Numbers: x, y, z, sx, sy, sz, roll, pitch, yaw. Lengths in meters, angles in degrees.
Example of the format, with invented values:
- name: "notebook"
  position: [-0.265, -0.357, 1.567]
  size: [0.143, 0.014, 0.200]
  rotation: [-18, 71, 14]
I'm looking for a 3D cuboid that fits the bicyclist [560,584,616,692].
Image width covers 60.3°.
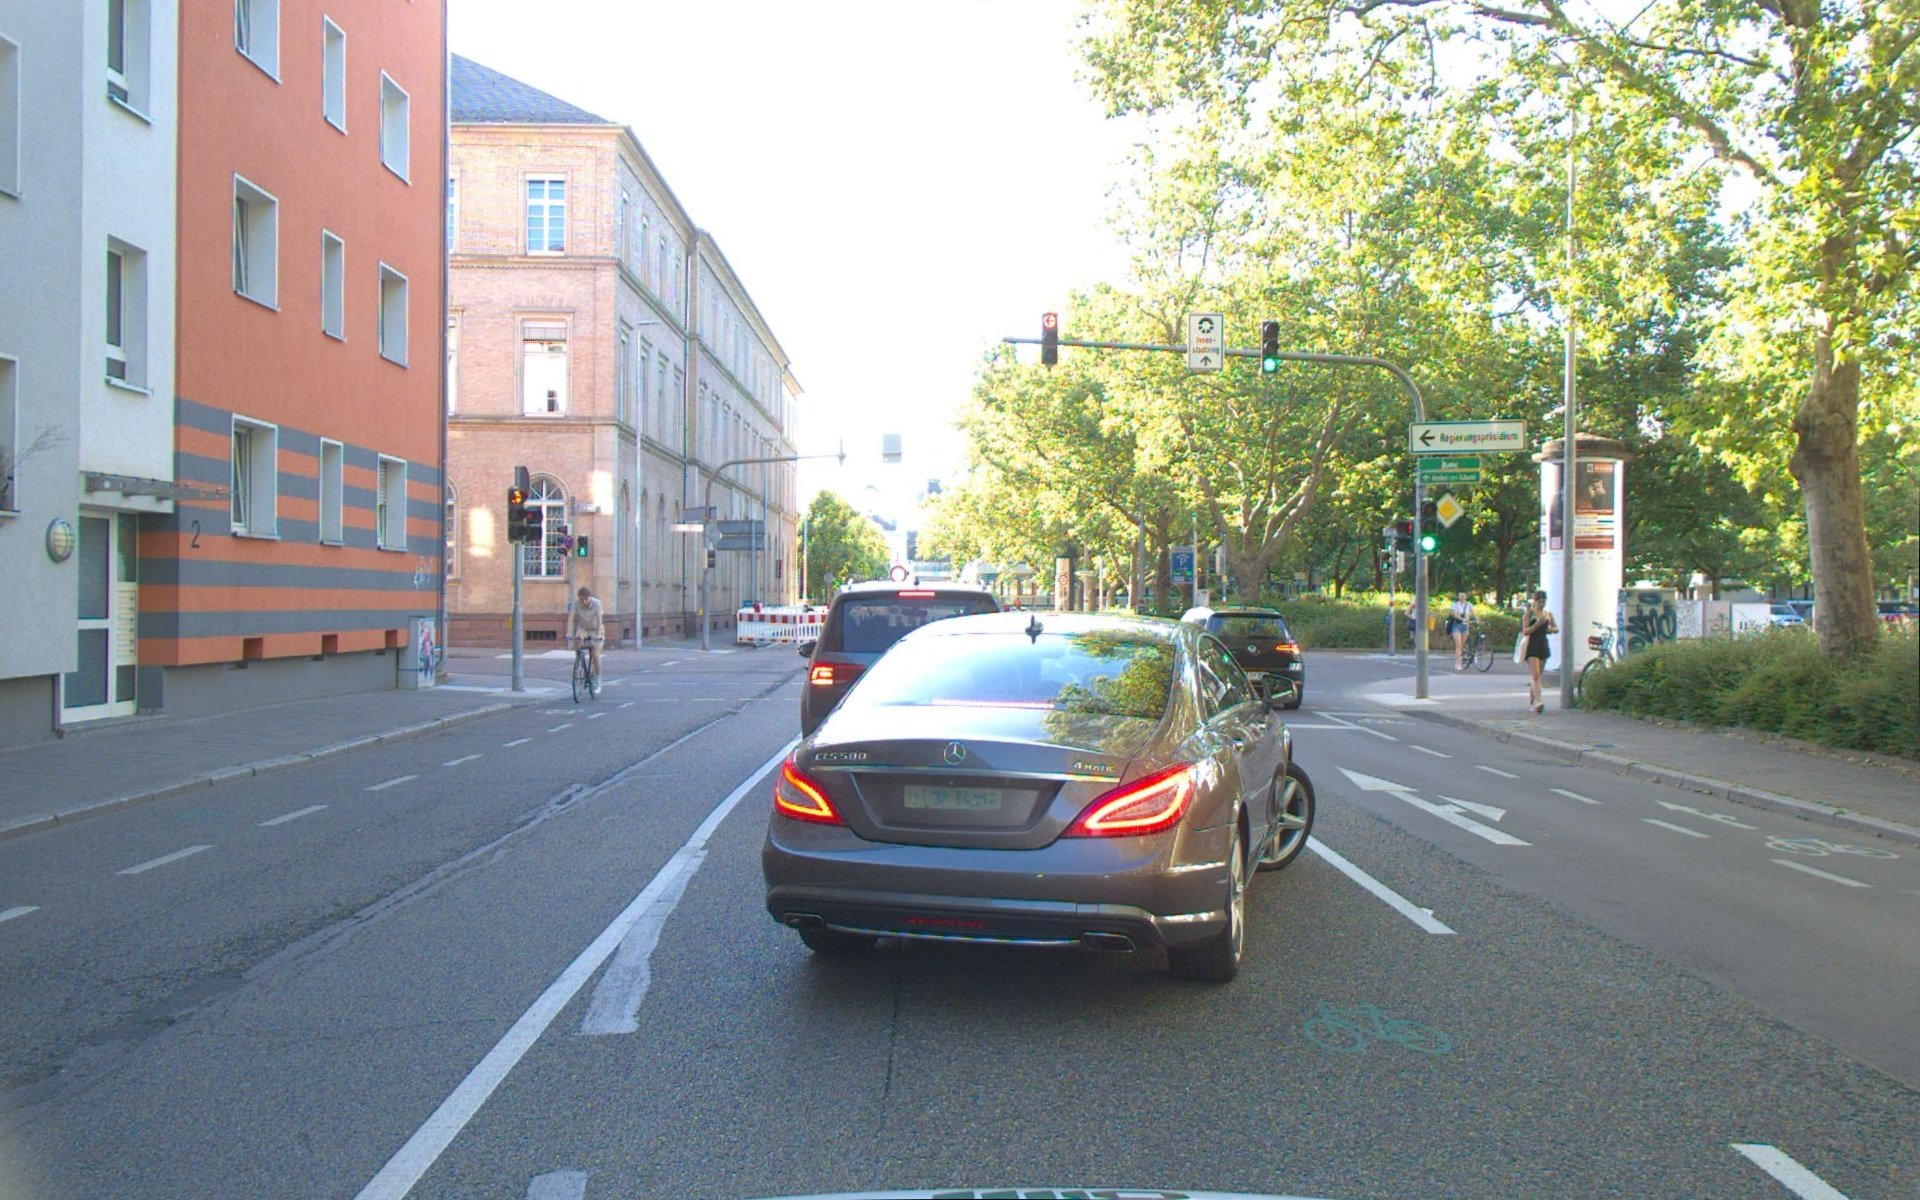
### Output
- name: "bicyclist"
  position: [-5.569, 0.564, 24.802]
  size: [0.635, 1.586, 0.806]
  rotation: [1, -1, -2]

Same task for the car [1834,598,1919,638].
- name: "car"
  position: [36.269, 0.693, 65.154]
  size: [1.596, 1.508, 3.794]
  rotation: [1, 0, -2]

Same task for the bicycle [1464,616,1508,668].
- name: "bicycle"
  position: [11.686, 0.923, 36.787]
  size: [0.513, 1.119, 1.742]
  rotation: [1, 0, 4]

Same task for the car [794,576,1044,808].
- name: "car"
  position: [-0.263, 0.662, 13.727]
  size: [1.772, 1.641, 4.000]
  rotation: [0, 0, 1]

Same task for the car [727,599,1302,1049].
- name: "car"
  position: [0.603, 0.758, 7.874]
  size: [1.804, 1.454, 4.520]
  rotation: [1, 0, 14]

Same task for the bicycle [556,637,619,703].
- name: "bicycle"
  position: [-5.561, 1.032, 24.791]
  size: [0.537, 0.906, 1.867]
  rotation: [1, 0, -1]

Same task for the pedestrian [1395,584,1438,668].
- name: "pedestrian"
  position: [10.190, 0.583, 36.922]
  size: [0.717, 1.840, 0.909]
  rotation: [0, -1, 2]

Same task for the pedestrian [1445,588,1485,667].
- name: "pedestrian"
  position: [11.261, 0.605, 36.891]
  size: [0.669, 1.727, 0.971]
  rotation: [1, 0, 6]

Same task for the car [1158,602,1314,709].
- name: "car"
  position: [4.145, 0.794, 25.385]
  size: [1.655, 1.465, 3.901]
  rotation: [2, 0, -1]

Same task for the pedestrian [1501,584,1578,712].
- name: "pedestrian"
  position: [7.784, 0.640, 22.245]
  size: [0.781, 1.659, 0.908]
  rotation: [-1, -1, 9]

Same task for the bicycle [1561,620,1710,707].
- name: "bicycle"
  position: [9.699, 0.907, 23.766]
  size: [1.936, 1.210, 0.528]
  rotation: [1, -1, -2]
